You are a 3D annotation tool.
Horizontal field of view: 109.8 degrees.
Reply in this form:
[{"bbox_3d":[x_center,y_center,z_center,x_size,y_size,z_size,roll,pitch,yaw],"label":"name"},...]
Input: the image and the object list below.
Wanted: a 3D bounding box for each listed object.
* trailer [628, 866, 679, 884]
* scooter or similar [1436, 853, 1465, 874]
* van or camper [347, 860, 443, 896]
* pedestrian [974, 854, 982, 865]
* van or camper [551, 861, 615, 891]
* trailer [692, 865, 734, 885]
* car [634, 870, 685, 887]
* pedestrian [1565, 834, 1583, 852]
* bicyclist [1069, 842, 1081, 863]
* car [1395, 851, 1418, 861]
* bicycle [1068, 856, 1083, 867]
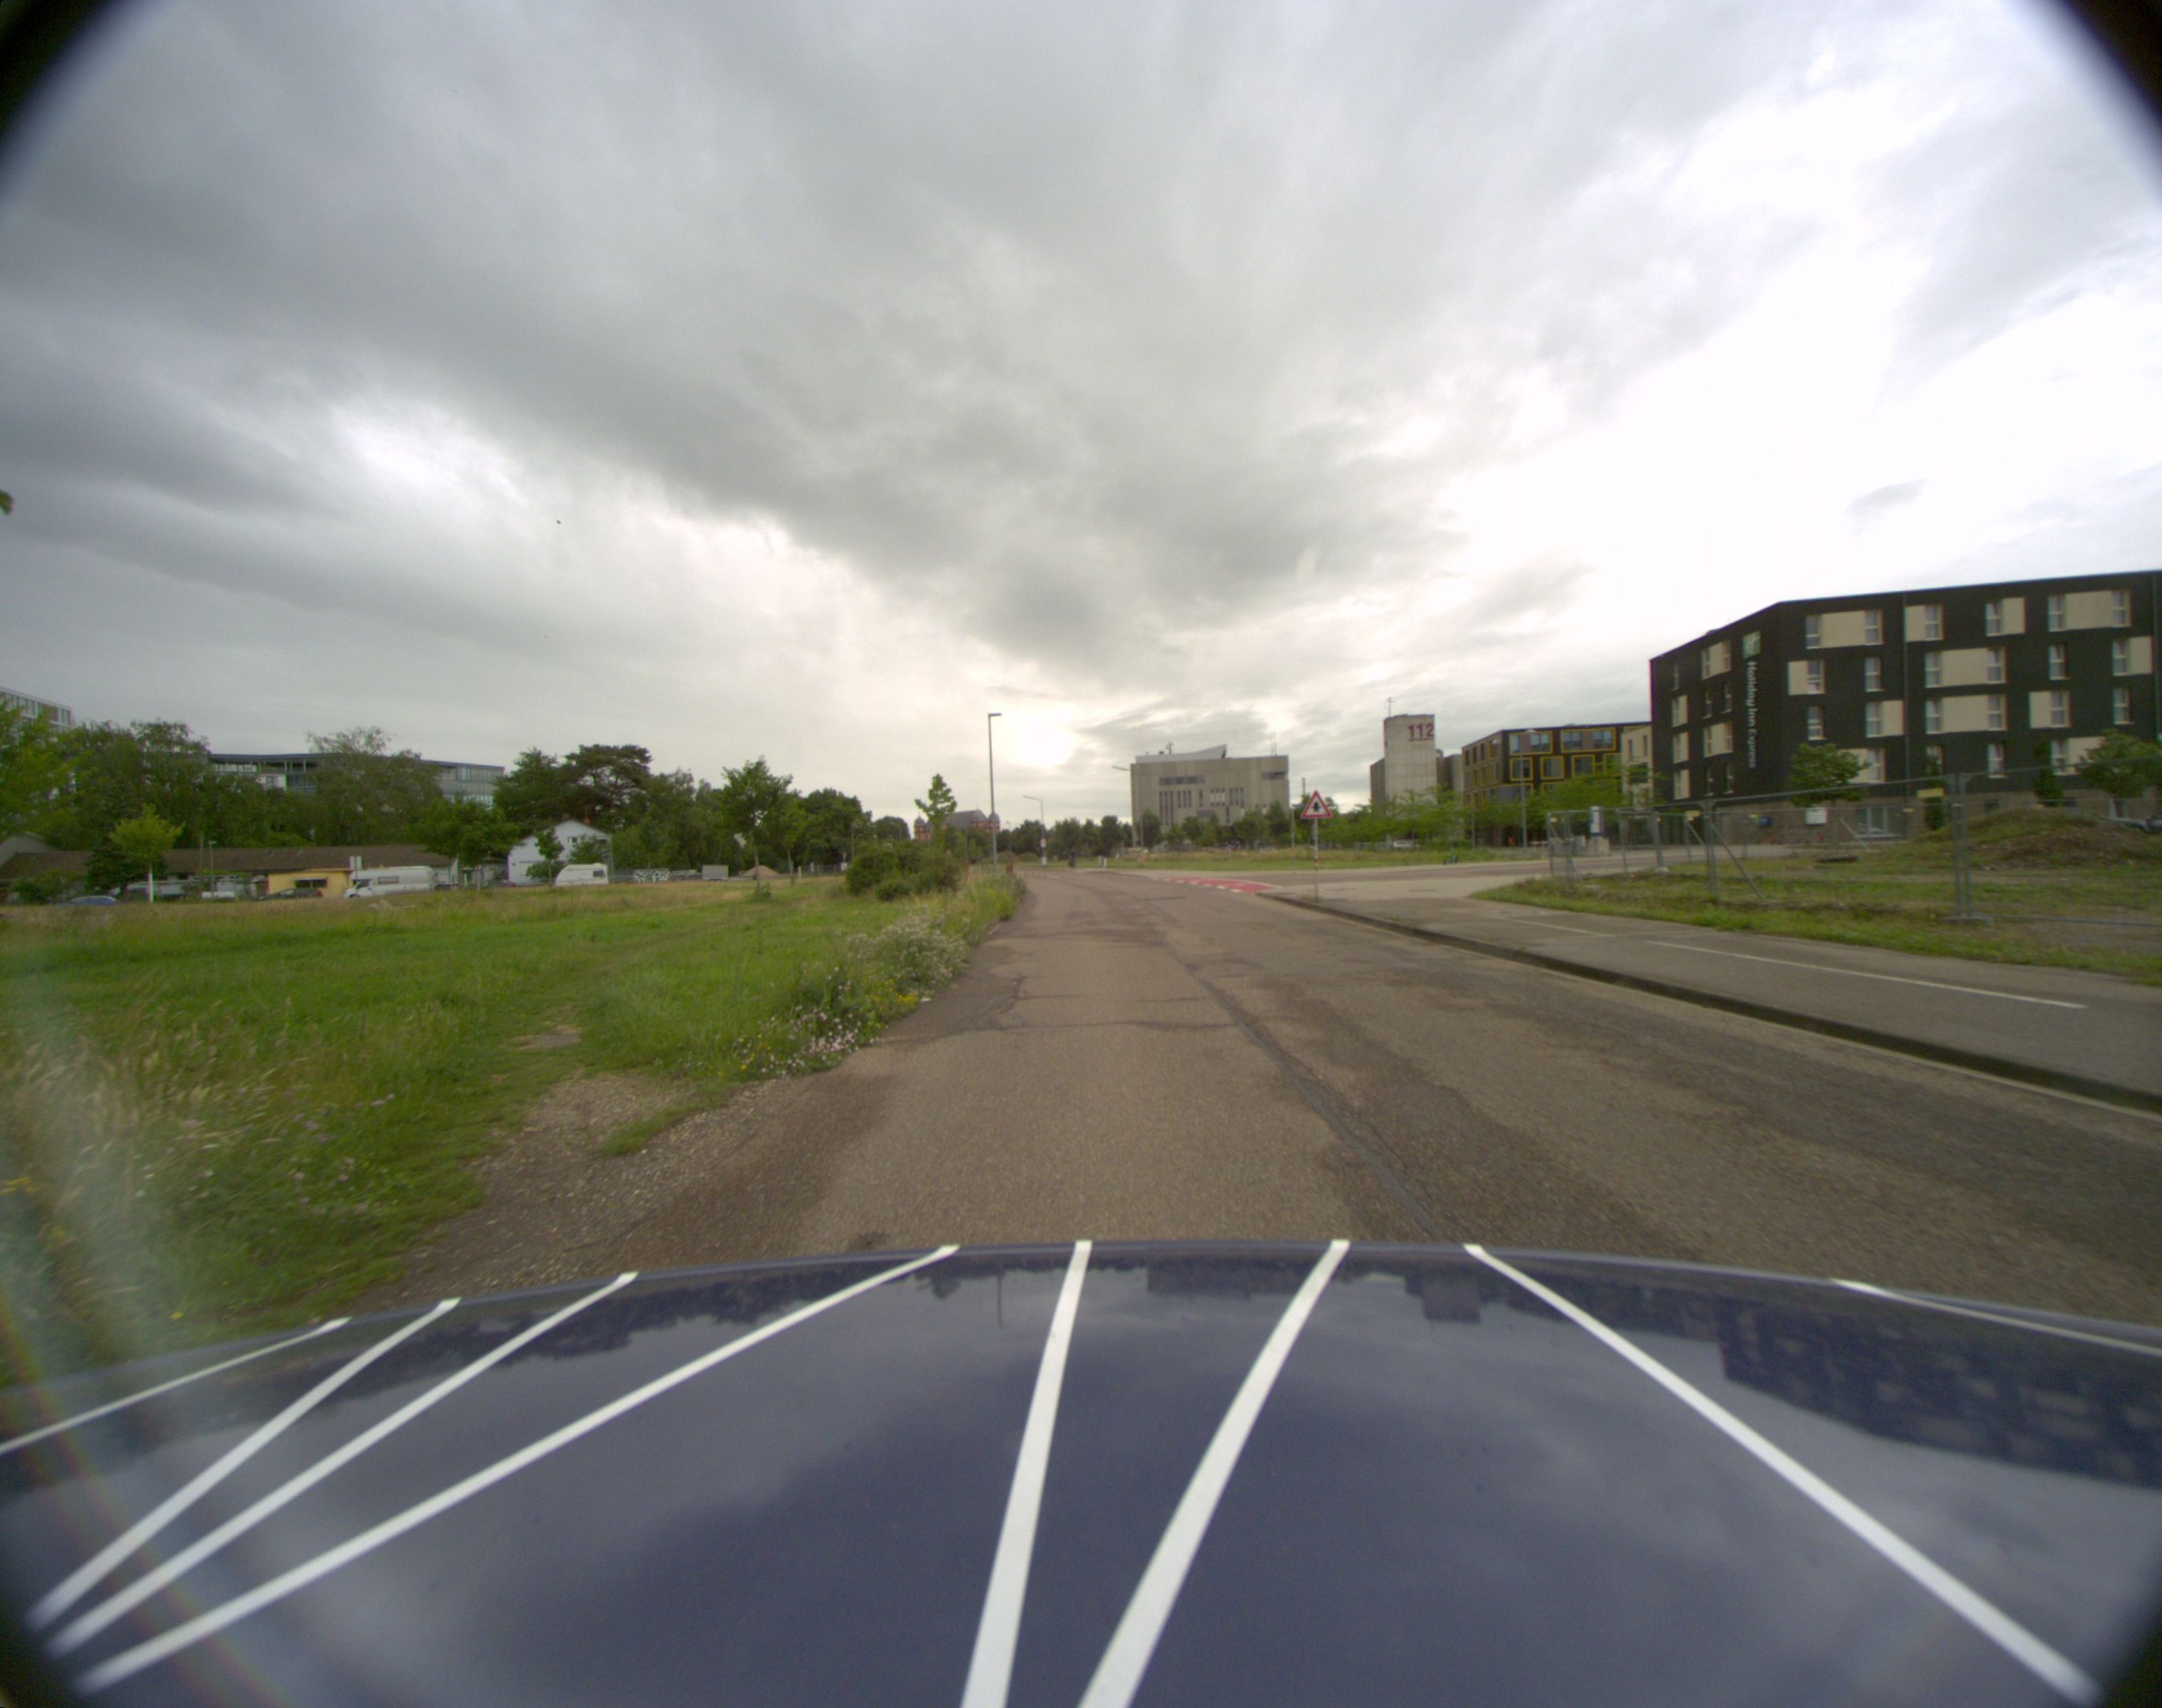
[{"bbox_3d":[-40.693,2.004,72.295,4.127,1.523,1.754,-1,-1,-33],"label":"trailer"},{"bbox_3d":[21.355,0.557,43.877,1.468,1.161,0.571,-3,1,-15],"label":"scooter or similar"},{"bbox_3d":[-62.405,2.156,69.292,6.084,3.093,2.266,-1,-1,-32],"label":"van or camper"},{"bbox_3d":[-15.905,0.864,117.057,0.848,1.772,1.075,-1,-1,-32],"label":"pedestrian"},{"bbox_3d":[-50.197,2.171,76.701,5.187,2.815,2.411,-1,-1,-30],"label":"van or camper"},{"bbox_3d":[-40.218,2.273,83.021,4.006,2.001,1.640,-1,-1,-31],"label":"trailer"},{"bbox_3d":[-44.388,2.564,79.962,4.601,1.630,1.995,-1,-1,-31],"label":"car"},{"bbox_3d":[45.130,-1.025,69.556,0.954,1.561,0.875,-2,0,-6],"label":"pedestrian"},{"bbox_3d":[-0.561,-0.113,74.593,0.865,2.001,1.176,-2,-1,-16],"label":"bicyclist"},{"bbox_3d":[48.305,0.311,112.845,1.997,1.514,4.003,0,-1,6],"label":"car"},{"bbox_3d":[-0.555,0.712,74.619,0.887,1.046,2.466,-1,-1,-16],"label":"bicycle"}]
